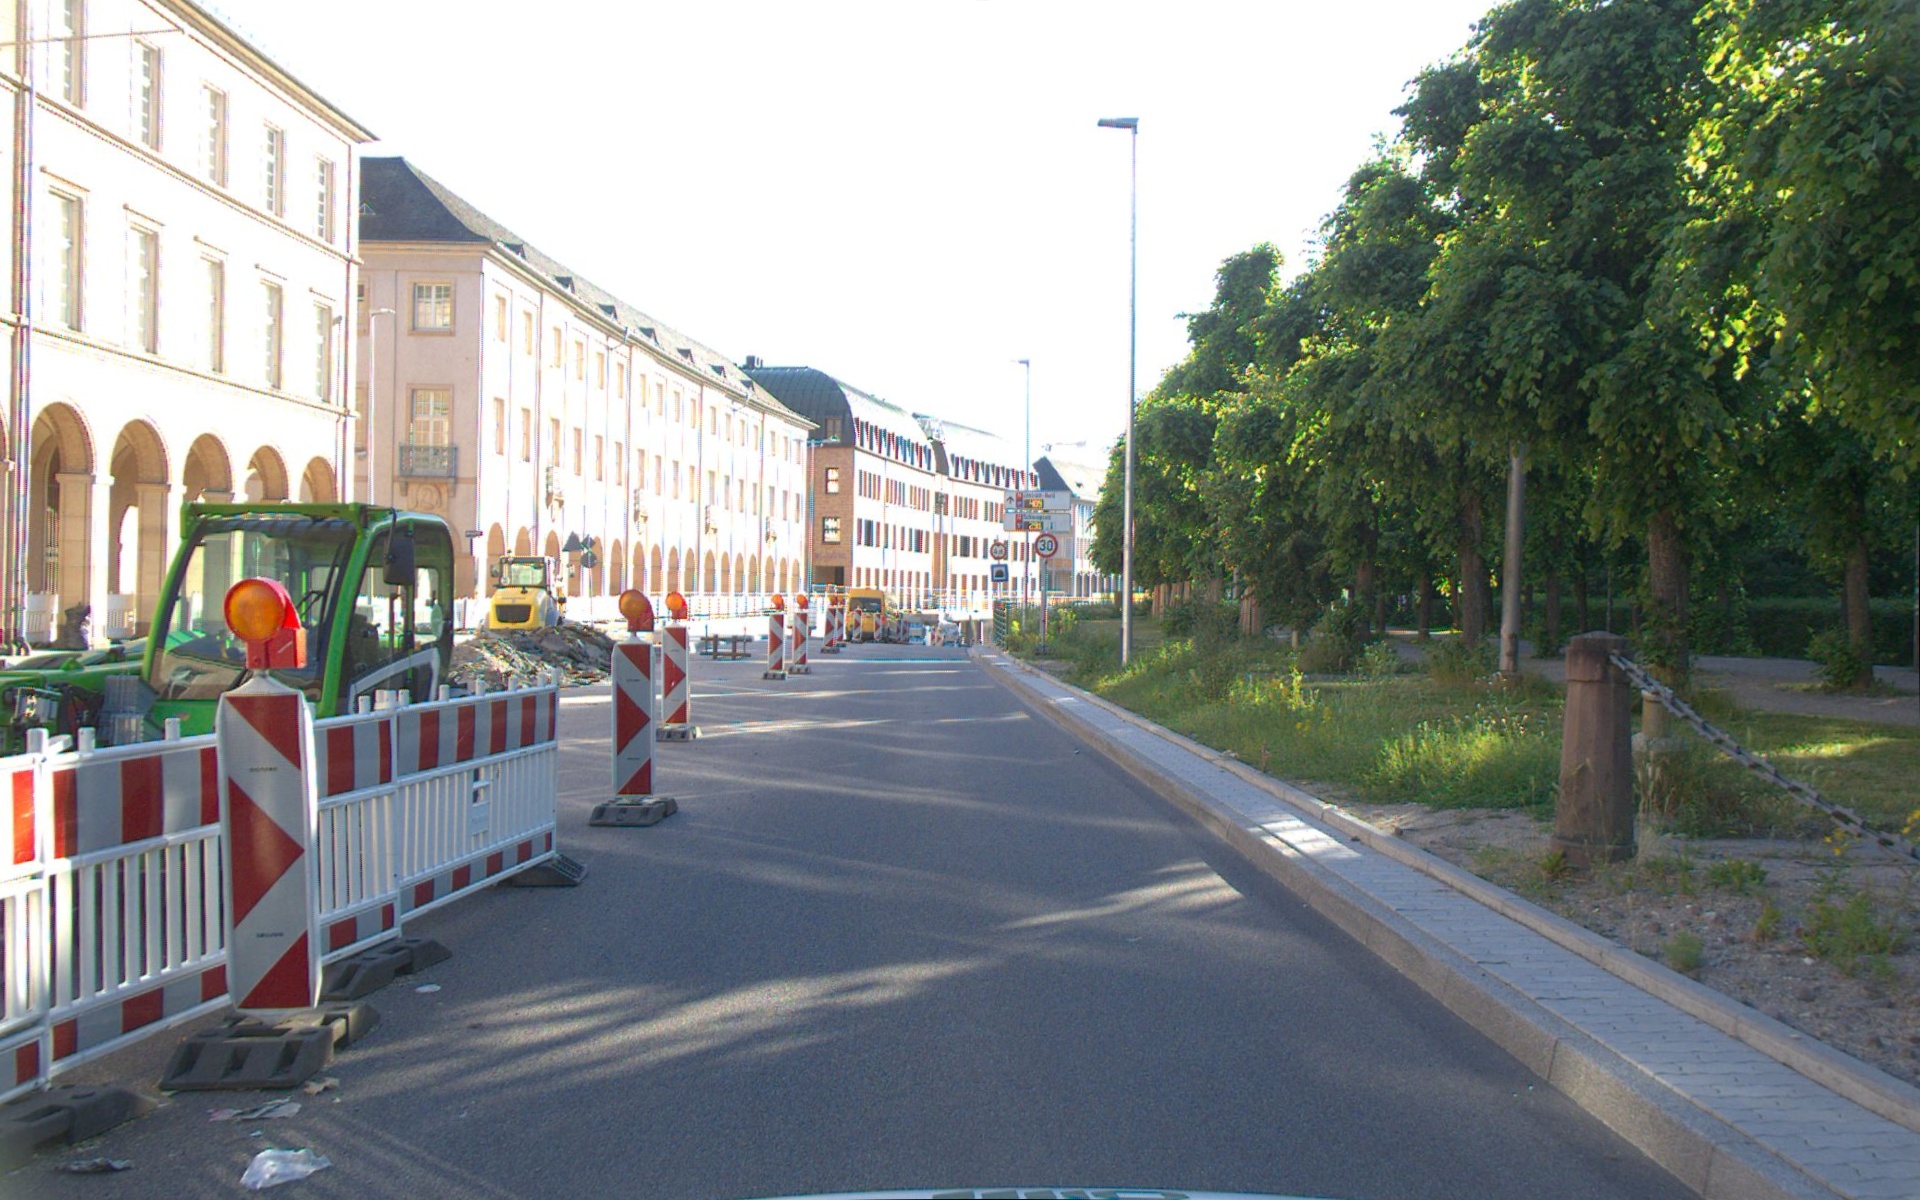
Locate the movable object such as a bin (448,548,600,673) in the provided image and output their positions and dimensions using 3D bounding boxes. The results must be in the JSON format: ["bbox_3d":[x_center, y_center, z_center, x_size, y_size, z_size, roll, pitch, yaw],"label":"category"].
[{"bbox_3d":[-9.449,0.162,36.244,2.032,2.518,4.618,1,1,1],"label":"movable object such as a bin"}]

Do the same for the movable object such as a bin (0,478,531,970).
[{"bbox_3d":[-3.959,0.447,8.911,2.007,1.983,4.336,1,1,2],"label":"movable object such as a bin"}]

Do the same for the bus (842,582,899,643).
[{"bbox_3d":[-4.253,0.655,79.356,2.029,2.734,4.685,1,-2,4],"label":"bus"}]

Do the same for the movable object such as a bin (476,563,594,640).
[{"bbox_3d":[-13.951,0.041,54.594,2.493,2.390,4.461,1,0,3],"label":"movable object such as a bin"}]
